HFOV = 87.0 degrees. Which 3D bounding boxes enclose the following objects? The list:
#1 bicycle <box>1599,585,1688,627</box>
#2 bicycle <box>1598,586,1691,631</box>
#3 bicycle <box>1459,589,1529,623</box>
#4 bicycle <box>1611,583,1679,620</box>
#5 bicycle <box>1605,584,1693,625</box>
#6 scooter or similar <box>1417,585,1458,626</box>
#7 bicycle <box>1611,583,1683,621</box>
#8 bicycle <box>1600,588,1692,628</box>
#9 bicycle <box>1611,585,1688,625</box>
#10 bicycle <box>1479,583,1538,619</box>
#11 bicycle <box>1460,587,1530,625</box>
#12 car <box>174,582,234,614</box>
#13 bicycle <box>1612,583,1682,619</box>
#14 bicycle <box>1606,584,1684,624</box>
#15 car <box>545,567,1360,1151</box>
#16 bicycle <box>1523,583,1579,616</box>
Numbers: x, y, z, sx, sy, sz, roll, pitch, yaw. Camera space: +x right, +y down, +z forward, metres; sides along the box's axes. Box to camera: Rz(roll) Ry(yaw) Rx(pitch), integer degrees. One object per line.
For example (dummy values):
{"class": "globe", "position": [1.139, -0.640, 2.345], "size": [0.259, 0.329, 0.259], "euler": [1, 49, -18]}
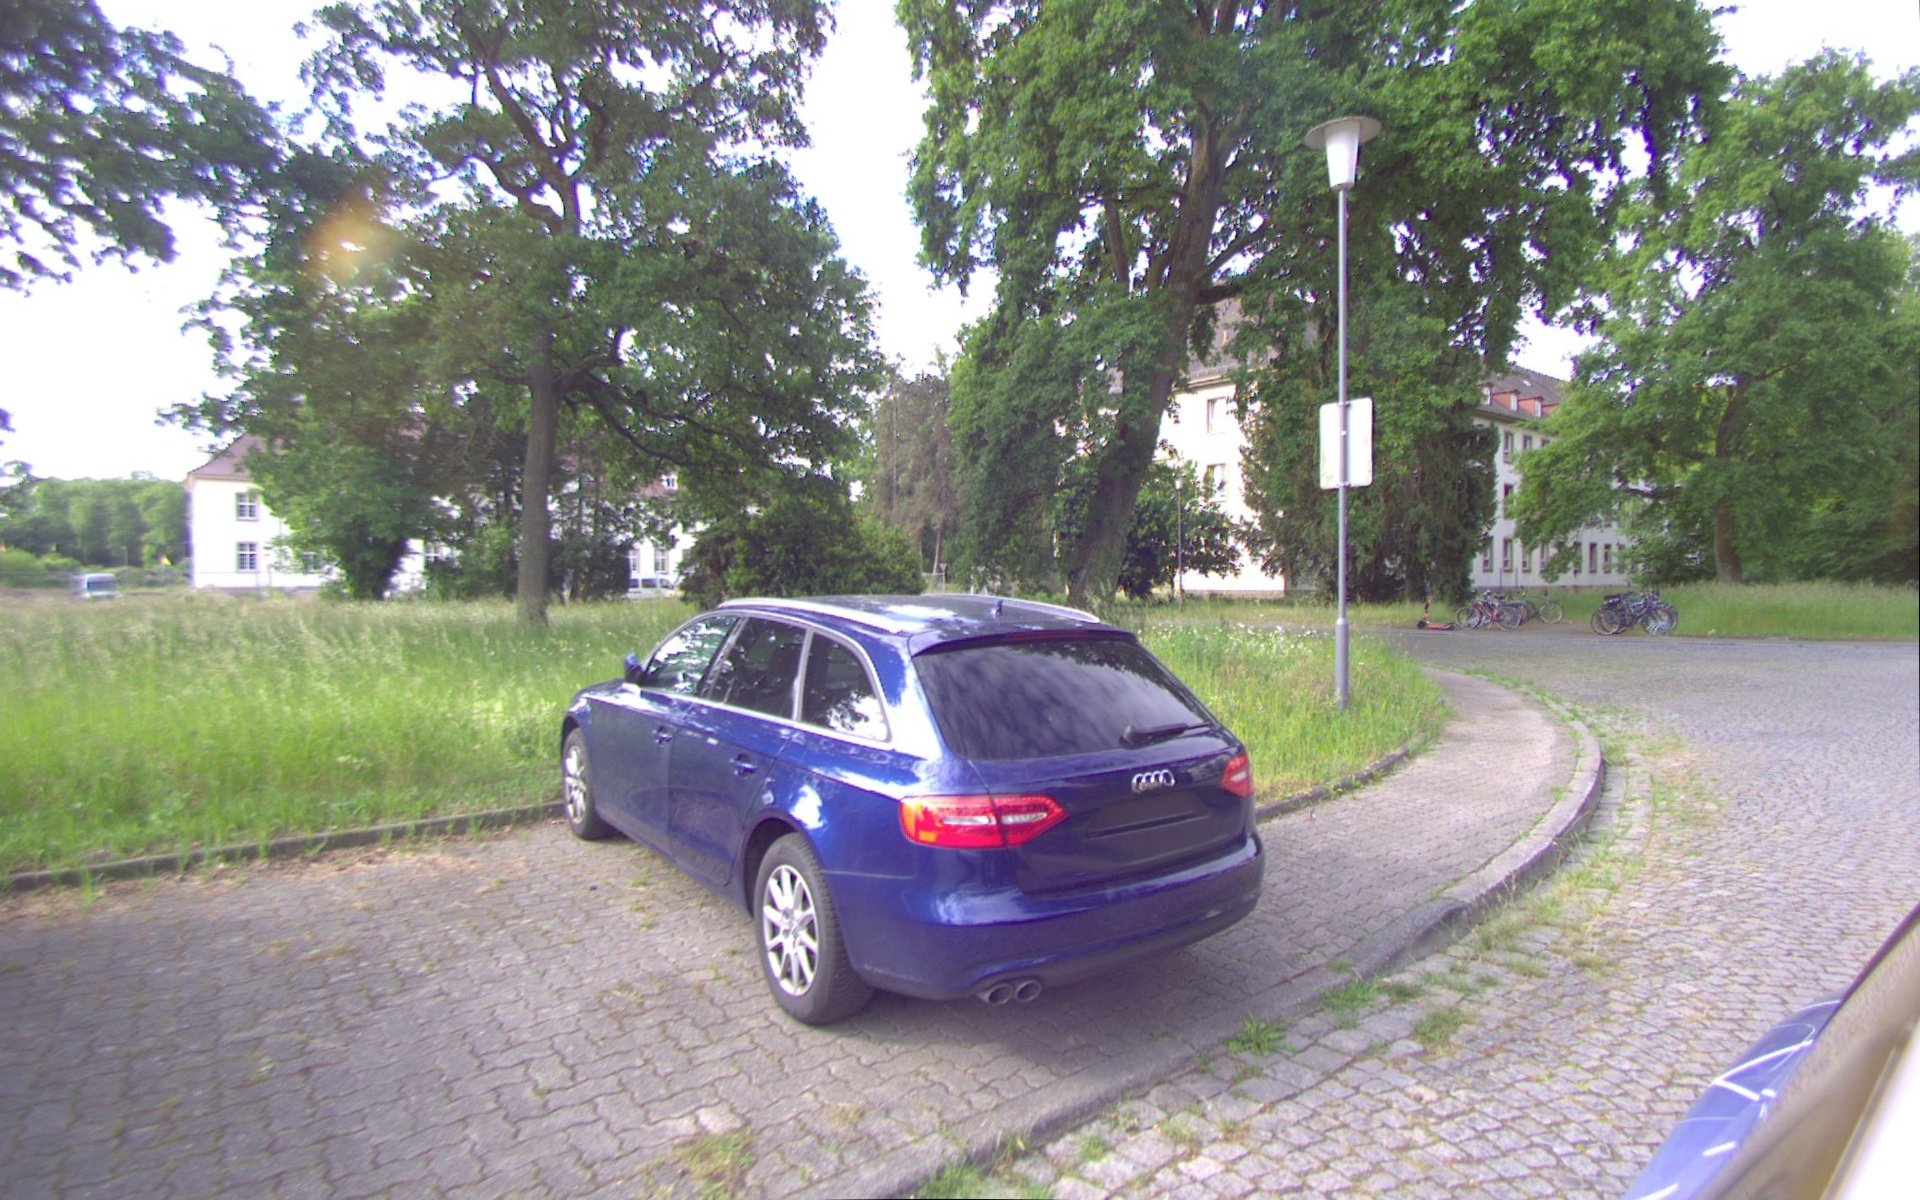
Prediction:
{"class": "bicycle", "position": [18.901, 0.139, 28.017], "size": [2.001, 1.101, 0.474], "euler": [1, 3, 31]}
{"class": "bicycle", "position": [18.010, 0.211, 26.682], "size": [2.001, 1.101, 0.474], "euler": [1, 3, 31]}
{"class": "bicycle", "position": [16.051, 0.172, 30.466], "size": [1.837, 1.002, 0.452], "euler": [1, 1, 25]}
{"class": "bicycle", "position": [21.648, 0.032, 32.029], "size": [1.736, 1.101, 0.548], "euler": [1, 3, 31]}
{"class": "bicycle", "position": [19.348, 0.108, 28.461], "size": [2.001, 1.101, 0.474], "euler": [1, 3, 31]}
{"class": "scooter or similar", "position": [14.400, 0.140, 30.537], "size": [0.378, 1.209, 1.064], "euler": [-1, 1, -35]}
{"class": "bicycle", "position": [21.267, 0.053, 31.356], "size": [1.793, 1.101, 0.548], "euler": [1, 3, 31]}
{"class": "bicycle", "position": [18.310, 0.204, 27.064], "size": [2.001, 1.022, 0.474], "euler": [1, 3, 31]}
{"class": "bicycle", "position": [19.813, 0.127, 29.125], "size": [1.774, 1.101, 0.474], "euler": [1, 3, 31]}
{"class": "bicycle", "position": [17.199, 0.030, 31.742], "size": [1.547, 1.101, 0.558], "euler": [1, 1, 22]}
{"class": "bicycle", "position": [15.814, 0.166, 29.965], "size": [1.794, 1.101, 0.475], "euler": [0, 3, 25]}
{"class": "car", "position": [-52.400, -0.106, 70.059], "size": [5.817, 2.039, 2.448], "euler": [-1, 1, 44]}
{"class": "bicycle", "position": [22.141, 0.008, 32.638], "size": [1.810, 1.101, 0.548], "euler": [1, 3, 31]}
{"class": "bicycle", "position": [20.157, 0.104, 29.837], "size": [1.850, 1.101, 0.514], "euler": [1, 3, 31]}
{"class": "car", "position": [-0.582, 0.613, 5.048], "size": [1.859, 1.482, 4.521], "euler": [-1, 2, -34]}
{"class": "bicycle", "position": [19.248, -0.016, 32.971], "size": [1.551, 1.047, 0.472], "euler": [1, 1, 28]}
